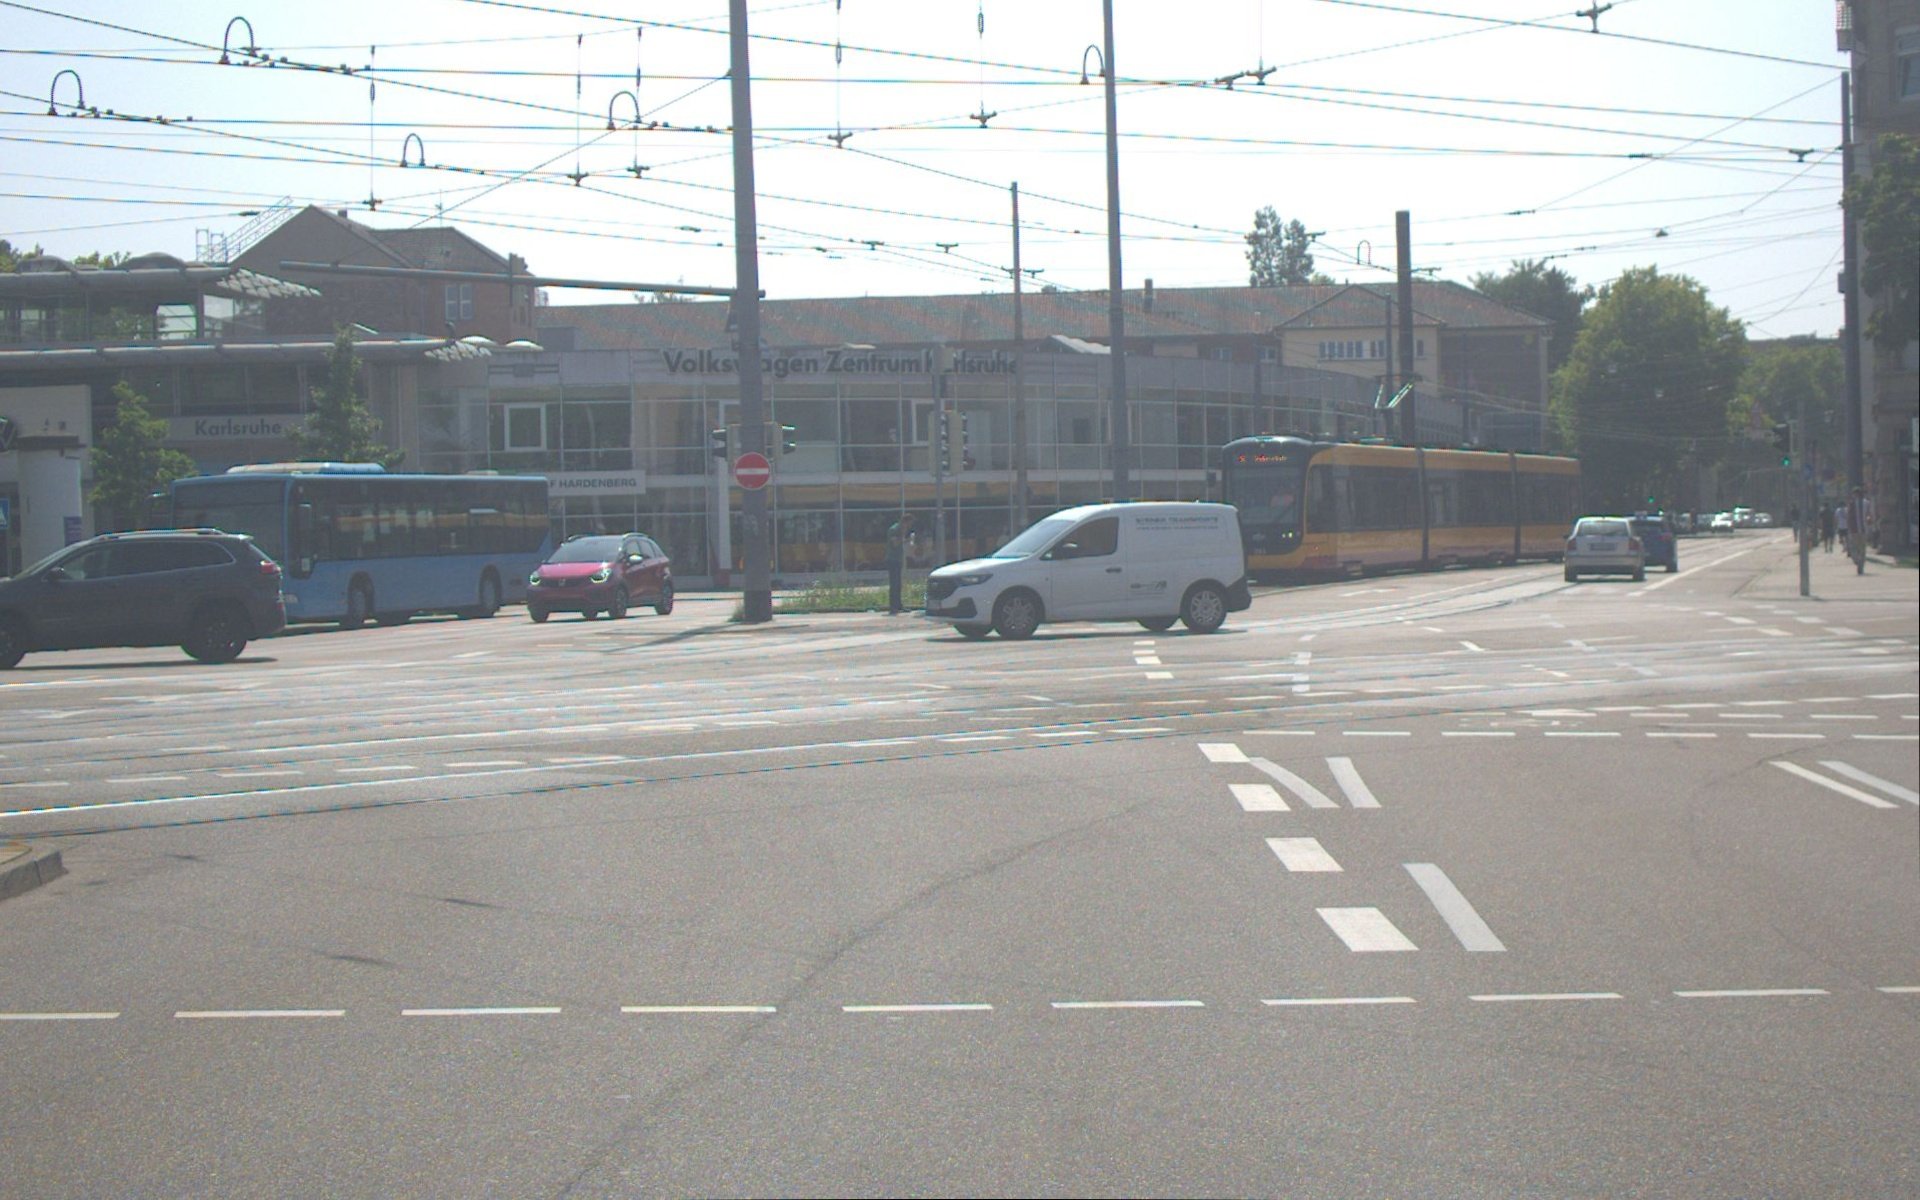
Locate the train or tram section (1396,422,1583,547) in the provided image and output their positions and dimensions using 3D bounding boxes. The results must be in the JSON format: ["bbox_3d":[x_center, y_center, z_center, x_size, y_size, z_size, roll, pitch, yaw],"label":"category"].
[{"bbox_3d":[16.153,-3.445,103.923,2.591,3.504,12.958,-1,1,22],"label":"train or tram section"}]

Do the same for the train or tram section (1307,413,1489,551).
[{"bbox_3d":[12.013,-3.152,93.457,2.591,3.504,9.648,-1,1,21],"label":"train or tram section"}]

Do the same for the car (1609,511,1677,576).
[{"bbox_3d":[17.618,-1.477,88.585,1.637,1.612,3.998,-1,1,12],"label":"car"}]

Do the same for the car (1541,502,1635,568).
[{"bbox_3d":[14.234,-1.485,78.044,1.770,1.411,4.188,-1,1,6],"label":"car"}]

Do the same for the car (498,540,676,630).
[{"bbox_3d":[-6.830,-0.296,63.347,1.751,1.546,3.997,-1,1,18],"label":"car"}]

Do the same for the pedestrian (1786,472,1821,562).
[{"bbox_3d":[28.674,-2.820,116.828,0.983,3.007,0.974,-1,1,6],"label":"pedestrian"}]

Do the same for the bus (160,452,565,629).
[{"bbox_3d":[-11.262,-1.179,66.610,2.564,3.072,12.014,-1,1,17],"label":"bus"}]

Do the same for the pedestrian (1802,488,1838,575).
[{"bbox_3d":[29.895,-2.392,119.532,0.983,3.007,0.974,-1,1,2],"label":"pedestrian"}]

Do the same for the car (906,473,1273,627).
[{"bbox_3d":[1.779,-0.707,47.431,4.609,2.007,2.001,-1,1,-20],"label":"car"}]

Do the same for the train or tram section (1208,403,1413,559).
[{"bbox_3d":[8.678,-2.836,83.759,2.590,3.504,10.889,-1,1,19],"label":"train or tram section"}]

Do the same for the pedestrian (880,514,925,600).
[{"bbox_3d":[-0.985,-0.737,58.762,0.676,1.438,0.366,-1,1,-17],"label":"pedestrian"}]

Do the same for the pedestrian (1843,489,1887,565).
[{"bbox_3d":[19.084,-1.537,72.496,0.699,1.597,0.573,-1,1,-8],"label":"pedestrian"}]

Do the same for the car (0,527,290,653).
[{"bbox_3d":[-11.025,-0.138,43.750,4.609,1.499,2.001,-1,1,-20],"label":"car"}]
